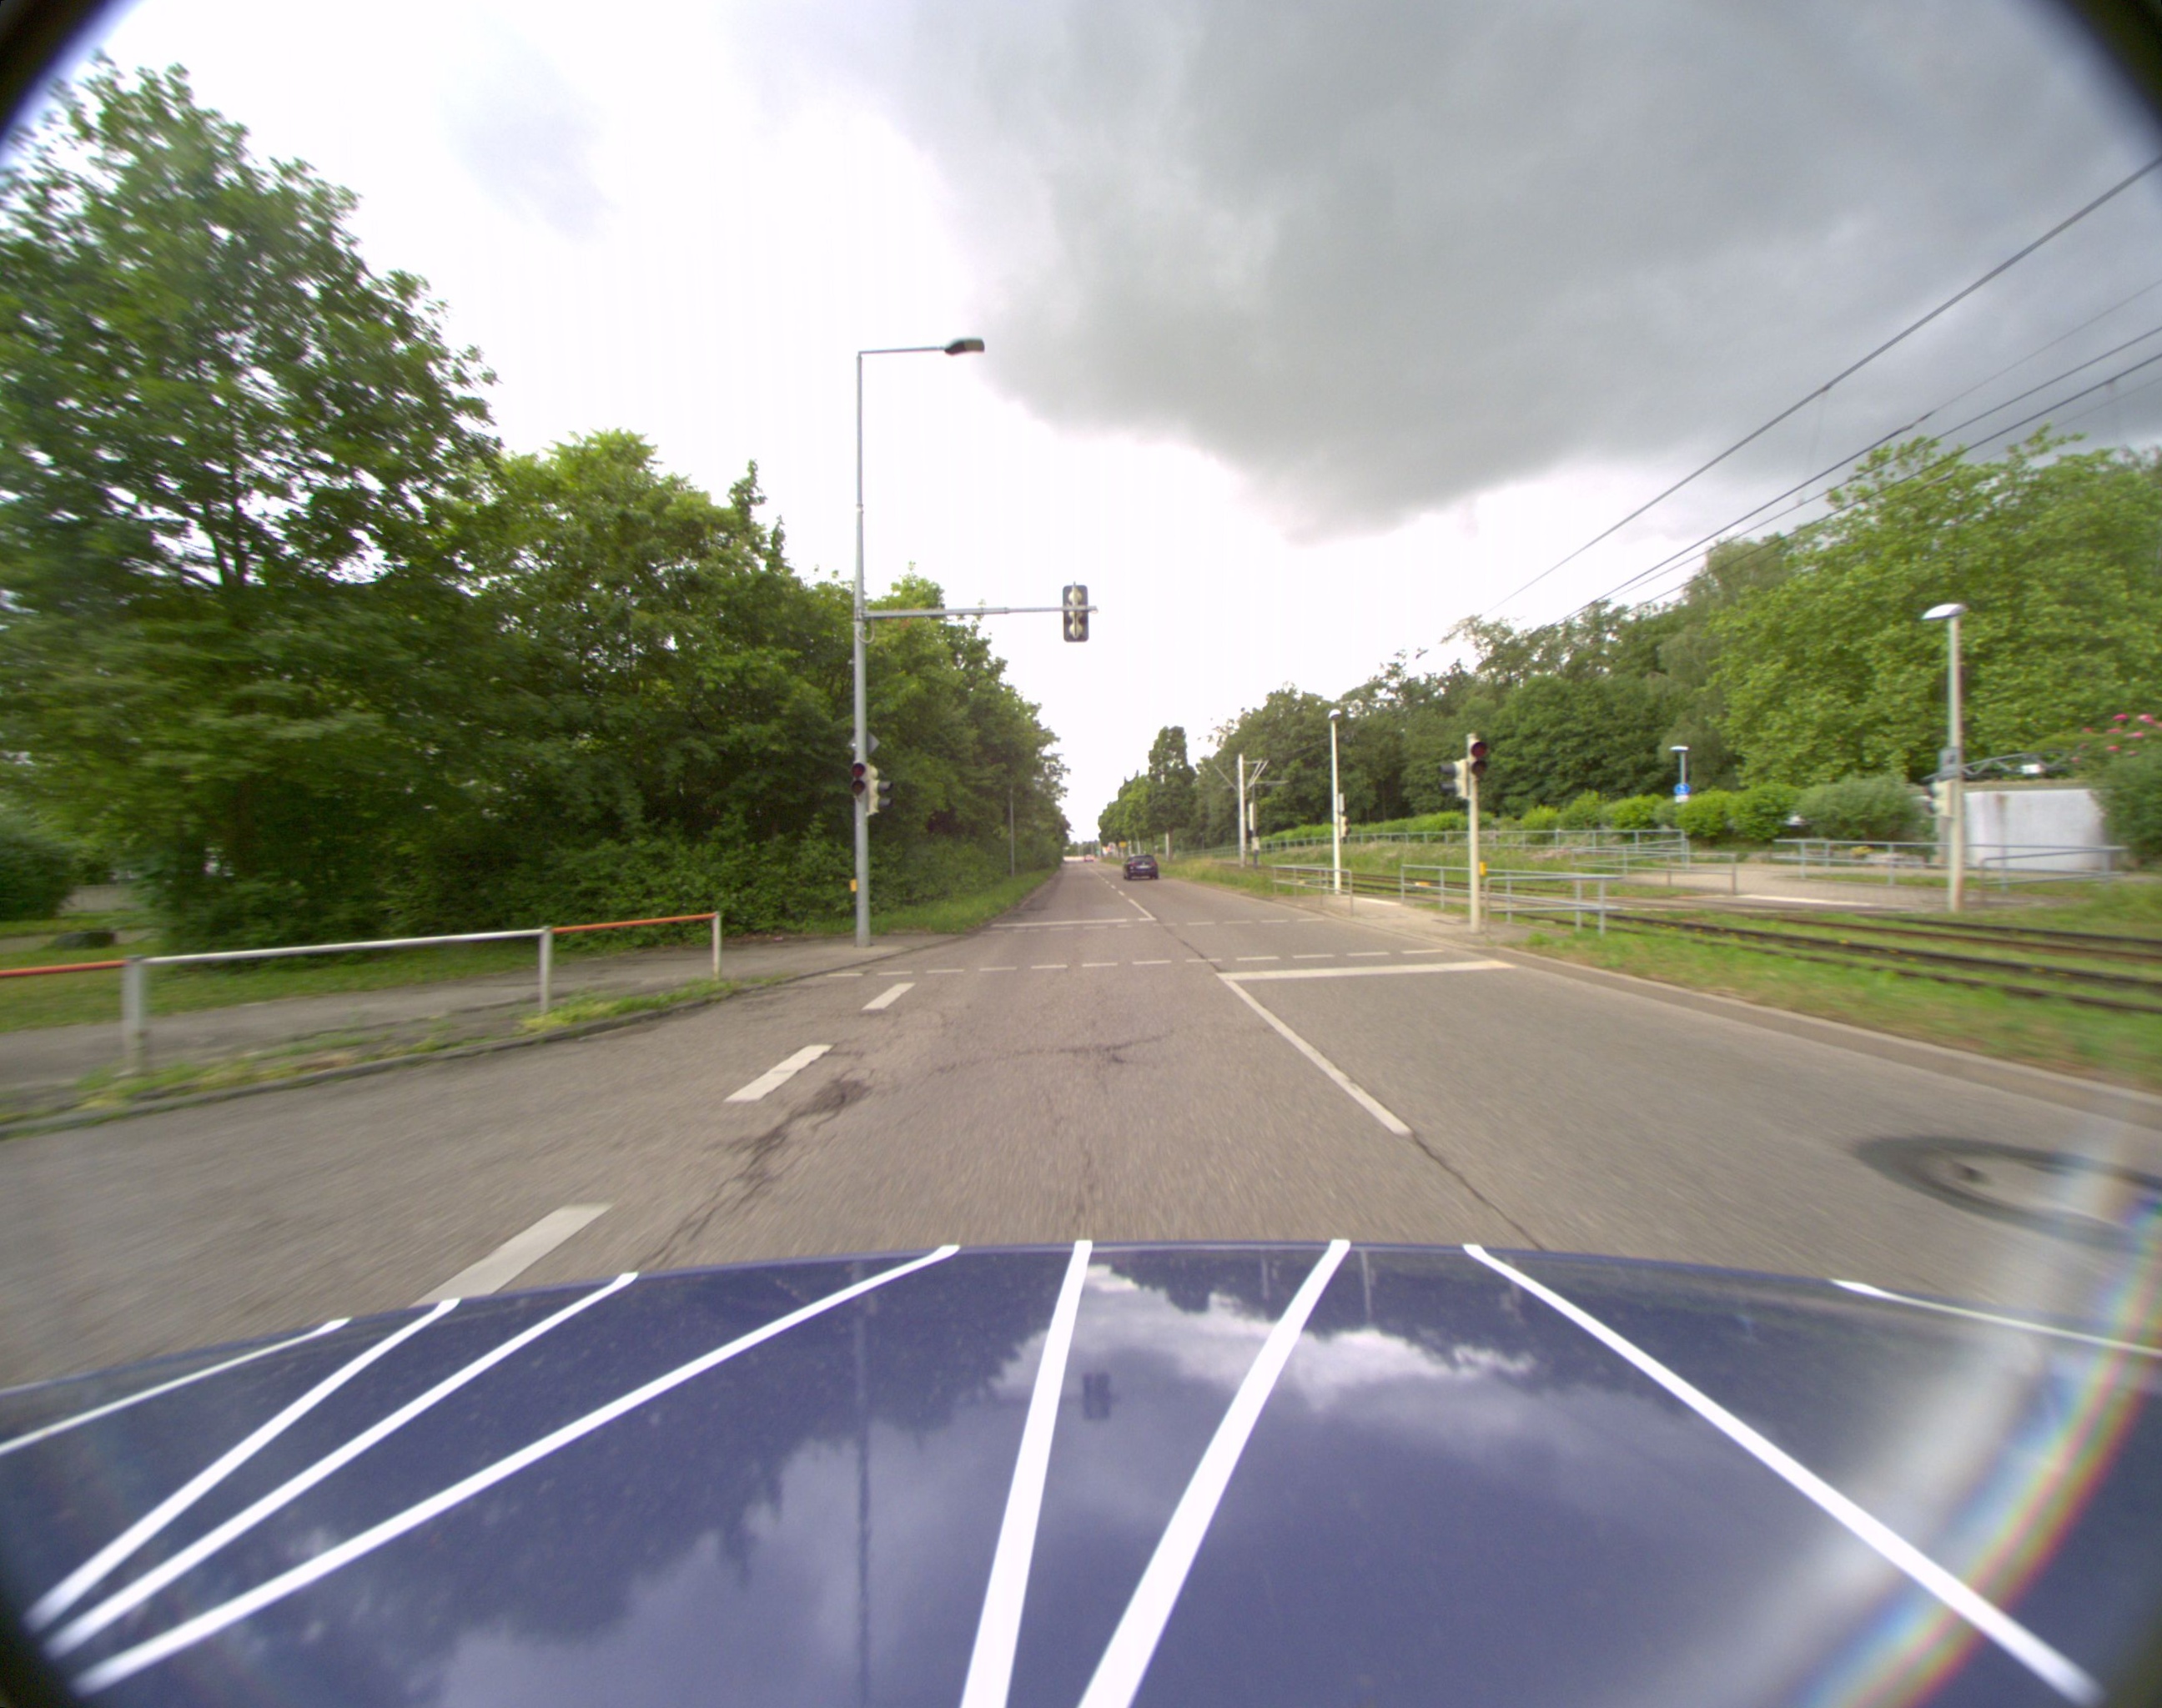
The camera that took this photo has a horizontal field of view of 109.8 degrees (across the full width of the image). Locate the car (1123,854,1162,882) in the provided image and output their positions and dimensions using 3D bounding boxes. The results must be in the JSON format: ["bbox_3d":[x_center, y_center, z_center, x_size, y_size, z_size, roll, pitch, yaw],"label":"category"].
[{"bbox_3d":[3.497,0.795,43.701,1.855,1.461,4.256,-2,0,0],"label":"car"}]
